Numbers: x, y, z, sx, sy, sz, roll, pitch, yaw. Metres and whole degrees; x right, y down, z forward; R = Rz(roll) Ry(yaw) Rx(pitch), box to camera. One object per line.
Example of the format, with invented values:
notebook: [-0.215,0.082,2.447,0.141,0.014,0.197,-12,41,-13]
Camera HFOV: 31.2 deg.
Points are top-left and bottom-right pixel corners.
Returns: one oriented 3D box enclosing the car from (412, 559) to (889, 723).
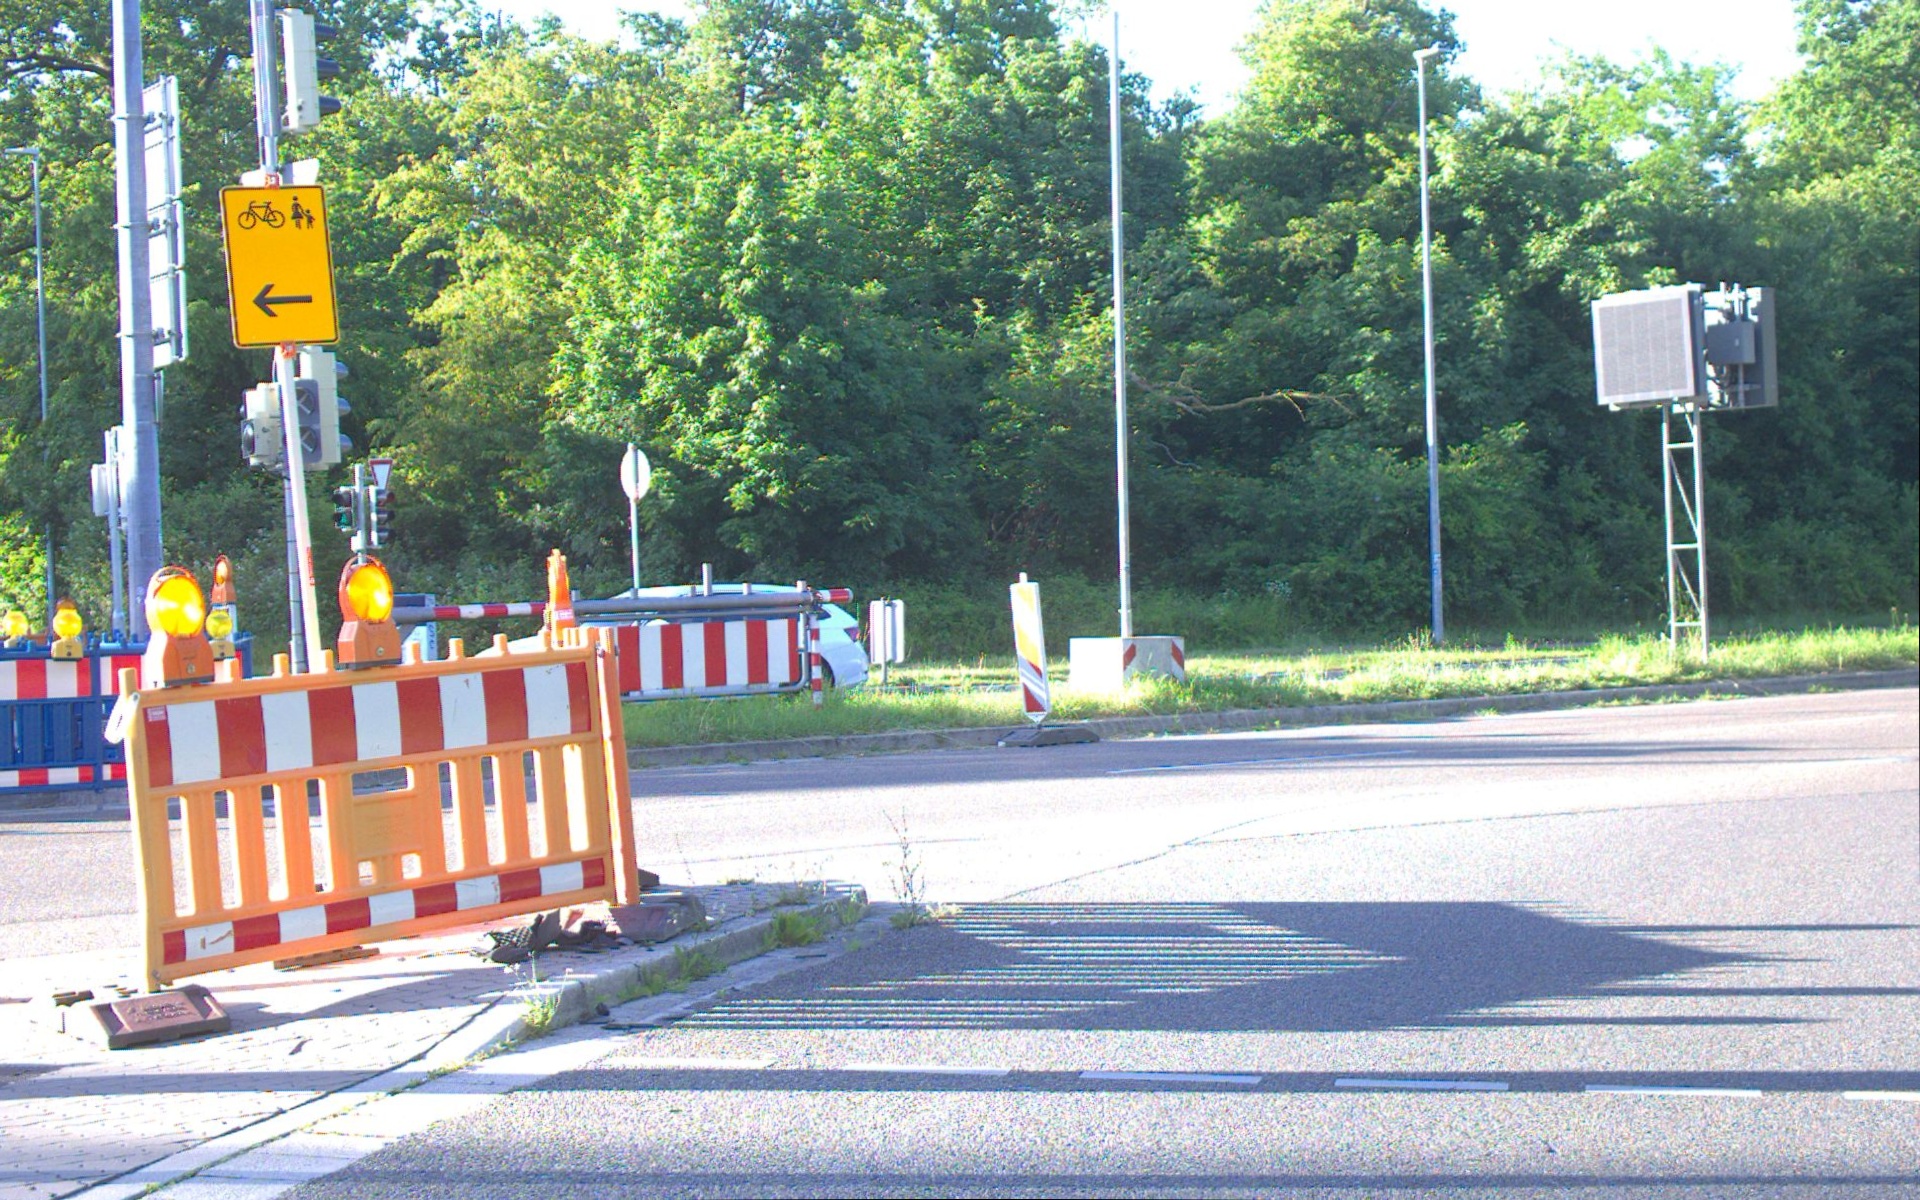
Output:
car: [-3.316,0.414,37.382,4.819,1.575,1.999,-2,0,-39]
